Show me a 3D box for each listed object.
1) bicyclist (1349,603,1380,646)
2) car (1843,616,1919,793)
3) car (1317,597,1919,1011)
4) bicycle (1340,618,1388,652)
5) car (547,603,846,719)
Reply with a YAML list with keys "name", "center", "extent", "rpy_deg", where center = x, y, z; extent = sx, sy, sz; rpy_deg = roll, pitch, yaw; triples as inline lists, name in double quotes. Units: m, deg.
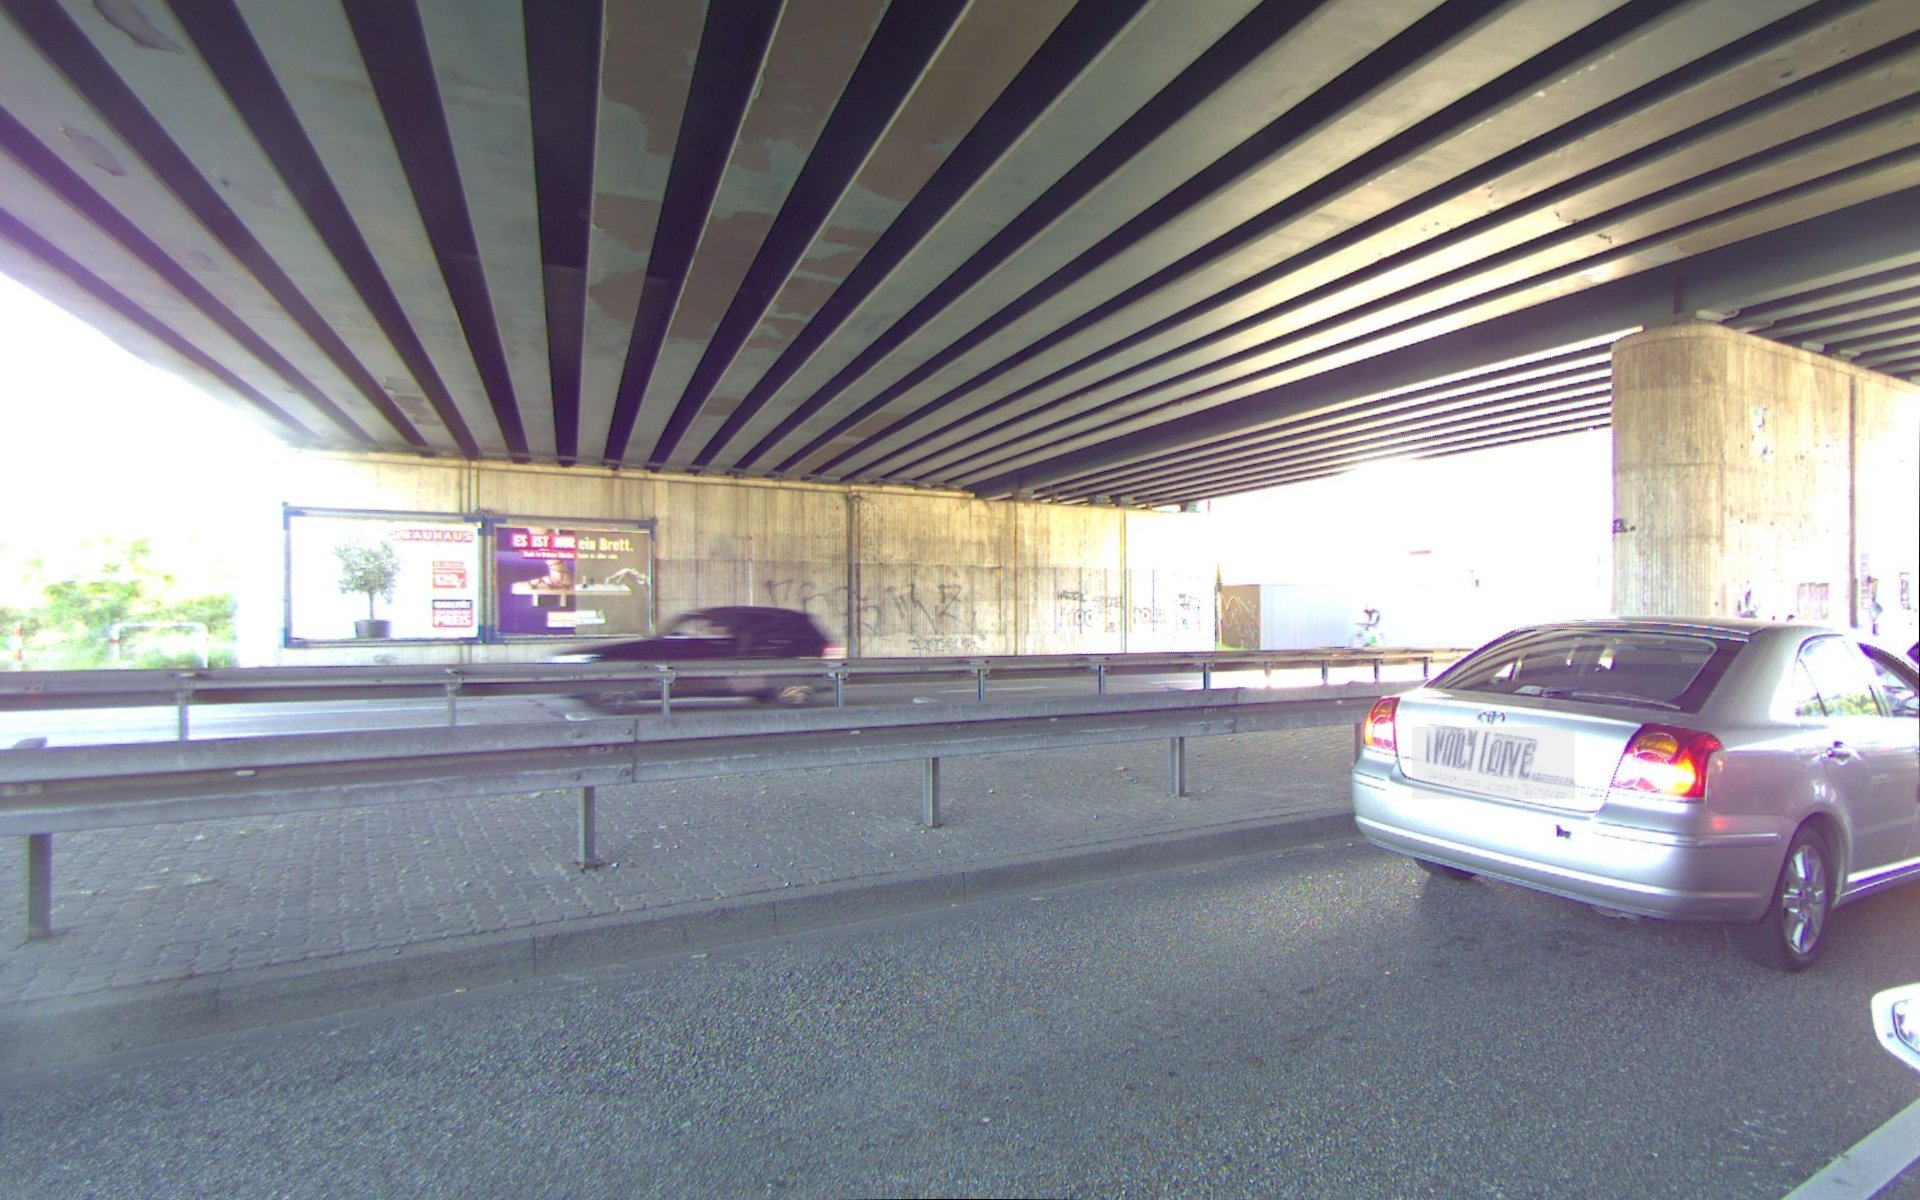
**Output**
- name: "bicyclist"
  center: [14.833, 0.897, 36.826]
  extent: [0.827, 1.545, 0.624]
  rpy_deg: [2, 0, -30]
- name: "car"
  center: [9.604, 0.895, 8.871]
  extent: [3.770, 1.429, 1.683]
  rpy_deg: [1, 0, -32]
- name: "car"
  center: [4.100, 0.771, 5.466]
  extent: [4.347, 1.474, 1.688]
  rpy_deg: [1, 0, -31]
- name: "bicycle"
  center: [14.813, 1.286, 36.817]
  extent: [1.856, 1.181, 0.631]
  rpy_deg: [2, 0, -30]
- name: "car"
  center: [-4.169, 0.922, 16.075]
  extent: [4.314, 1.638, 1.842]
  rpy_deg: [1, -2, -31]
